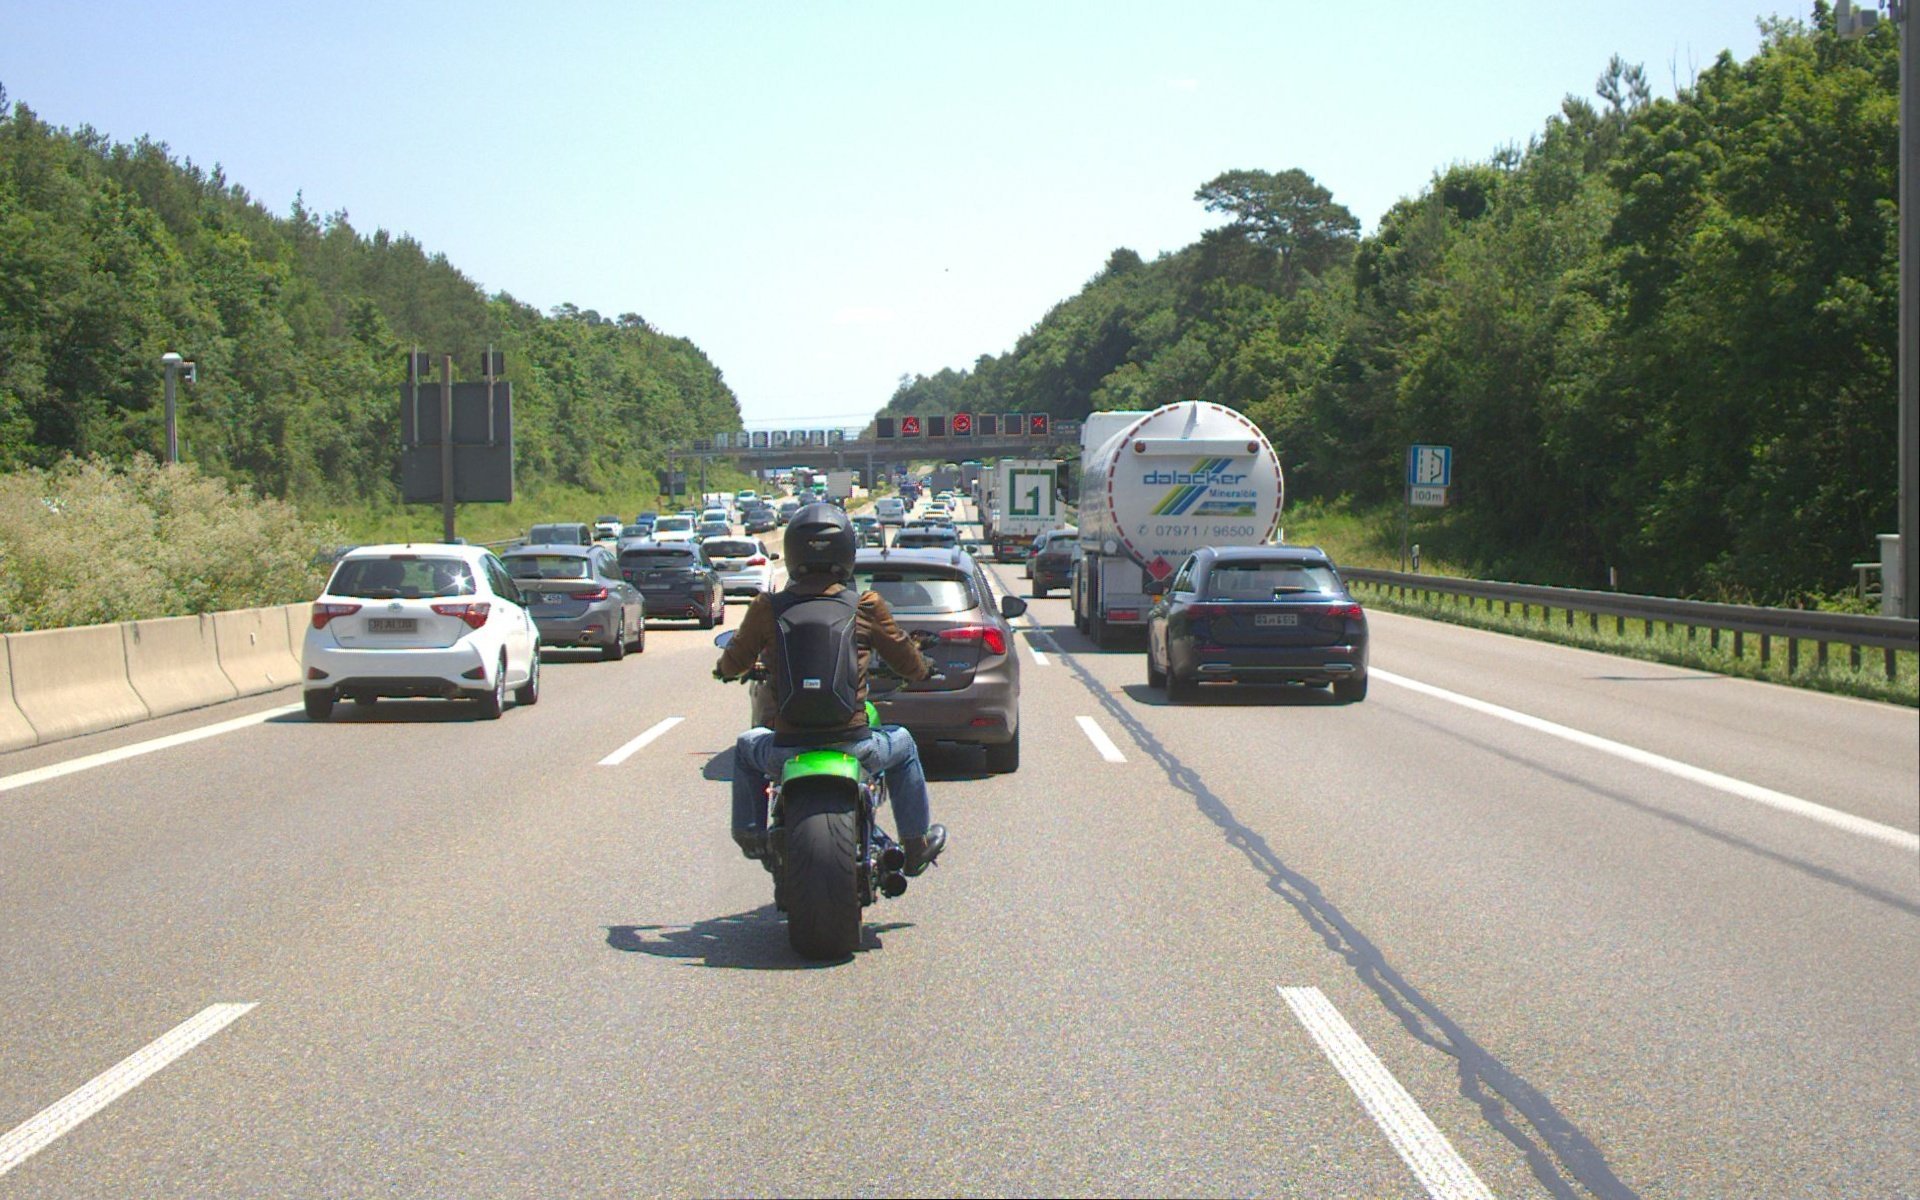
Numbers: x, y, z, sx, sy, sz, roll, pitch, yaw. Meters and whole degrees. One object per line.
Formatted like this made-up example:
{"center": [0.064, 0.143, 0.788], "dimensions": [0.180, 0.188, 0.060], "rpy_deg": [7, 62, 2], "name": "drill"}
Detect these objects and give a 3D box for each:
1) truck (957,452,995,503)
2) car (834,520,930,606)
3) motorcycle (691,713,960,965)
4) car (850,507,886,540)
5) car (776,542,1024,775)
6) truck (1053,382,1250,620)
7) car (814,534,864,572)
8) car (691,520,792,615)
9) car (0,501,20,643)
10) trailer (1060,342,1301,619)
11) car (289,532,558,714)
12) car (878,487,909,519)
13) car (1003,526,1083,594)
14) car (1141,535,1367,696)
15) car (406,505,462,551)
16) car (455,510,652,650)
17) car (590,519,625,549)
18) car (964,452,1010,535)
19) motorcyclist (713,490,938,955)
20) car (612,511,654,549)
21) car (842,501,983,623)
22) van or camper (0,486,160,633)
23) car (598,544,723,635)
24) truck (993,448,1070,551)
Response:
{"center": [1.156, -8.915, 251.468], "dimensions": [2.696, 3.394, 10.478], "rpy_deg": [-1, 0, 0], "name": "truck"}
{"center": [-1.676, -0.769, 73.930], "dimensions": [1.993, 1.769, 4.000], "rpy_deg": [1, 0, -1], "name": "car"}
{"center": [-0.476, 0.877, 13.231], "dimensions": [0.936, 0.790, 2.299], "rpy_deg": [1, 0, 0], "name": "motorcycle"}
{"center": [-4.677, -3.862, 175.020], "dimensions": [1.660, 1.594, 4.000], "rpy_deg": [0, 0, 0], "name": "car"}
{"center": [-0.383, 0.351, 23.534], "dimensions": [1.541, 1.445, 4.000], "rpy_deg": [1, 0, 0], "name": "car"}
{"center": [3.060, -1.516, 56.471], "dimensions": [2.828, 3.659, 6.429], "rpy_deg": [1, 0, 0], "name": "truck"}
{"center": [-4.698, -1.830, 134.043], "dimensions": [1.764, 1.437, 4.000], "rpy_deg": [0, 1, 0], "name": "car"}
{"center": [-4.788, -0.684, 75.799], "dimensions": [1.993, 2.007, 4.000], "rpy_deg": [1, 0, -1], "name": "car"}
{"center": [-14.562, -0.377, 47.454], "dimensions": [1.993, 2.007, 4.272], "rpy_deg": [0, 1, 0], "name": "car"}
{"center": [3.089, -1.558, 50.983], "dimensions": [2.828, 3.659, 10.732], "rpy_deg": [1, 0, 0], "name": "trailer"}
{"center": [-4.695, 0.151, 30.589], "dimensions": [1.776, 1.406, 4.001], "rpy_deg": [1, 2, 0], "name": "car"}
{"center": [-4.485, -6.568, 233.030], "dimensions": [1.993, 2.007, 4.000], "rpy_deg": [-1, 0, 0], "name": "car"}
{"center": [1.943, -0.937, 81.716], "dimensions": [1.776, 1.522, 4.000], "rpy_deg": [1, 0, 0], "name": "car"}
{"center": [2.806, 0.156, 33.657], "dimensions": [1.792, 1.453, 4.624], "rpy_deg": [1, 0, 0], "name": "car"}
{"center": [-23.717, -3.250, 155.174], "dimensions": [1.993, 2.007, 4.000], "rpy_deg": [0, 1, -1], "name": "car"}
{"center": [-5.111, -0.231, 43.734], "dimensions": [1.993, 1.678, 4.330], "rpy_deg": [1, 0, 0], "name": "car"}
{"center": [-23.245, -4.351, 226.701], "dimensions": [1.993, 2.007, 4.001], "rpy_deg": [0, 1, -2], "name": "car"}
{"center": [1.345, -5.361, 175.097], "dimensions": [2.167, 3.879, 9.330], "rpy_deg": [1, 0, 0], "name": "car"}
{"center": [-0.493, 0.448, 13.005], "dimensions": [0.799, 1.682, 1.016], "rpy_deg": [1, 0, 0], "name": "motorcyclist"}
{"center": [-15.712, -3.354, 165.341], "dimensions": [1.696, 1.807, 4.000], "rpy_deg": [0, 1, -1], "name": "car"}
{"center": [-0.706, -0.528, 50.730], "dimensions": [1.993, 1.705, 4.000], "rpy_deg": [1, 0, -1], "name": "car"}
{"center": [-15.755, -0.653, 59.958], "dimensions": [2.152, 2.414, 6.196], "rpy_deg": [1, 0, 0], "name": "van or camper"}
{"center": [-4.988, -0.156, 57.559], "dimensions": [1.993, 1.459, 4.000], "rpy_deg": [1, 0, -4], "name": "car"}
{"center": [2.899, -3.962, 137.186], "dimensions": [2.854, 3.808, 7.187], "rpy_deg": [0, 0, 3], "name": "truck"}
